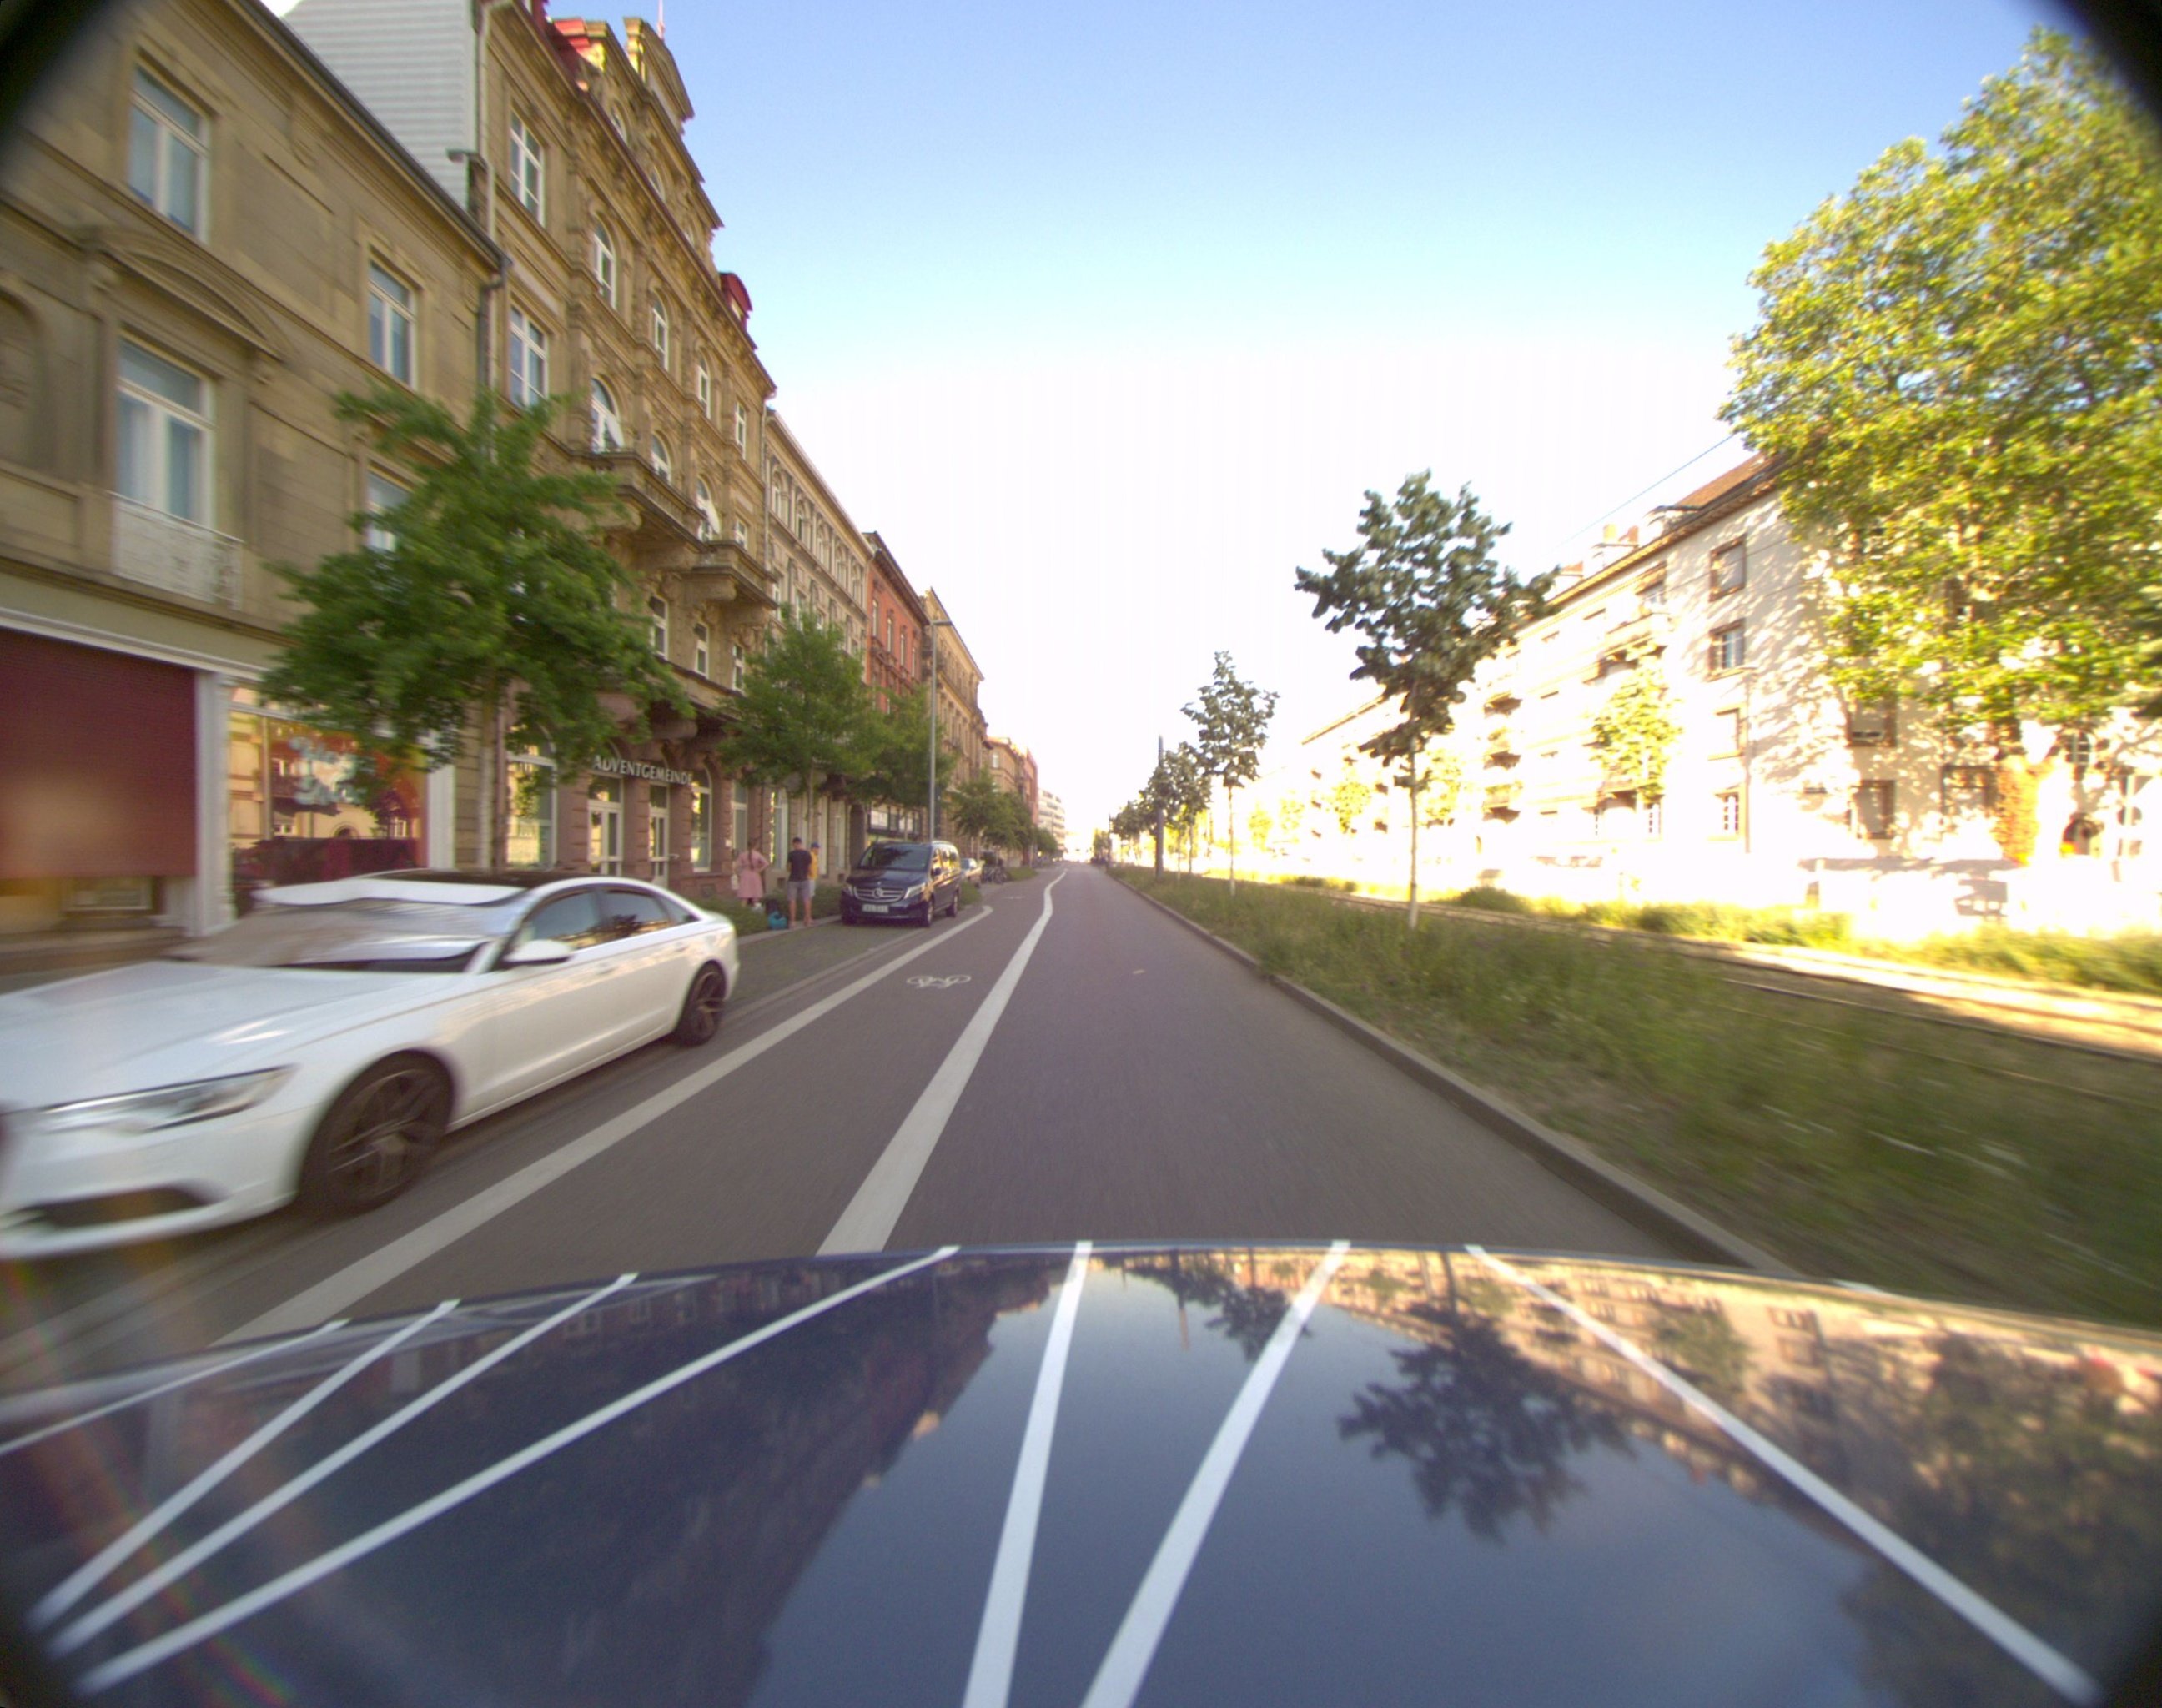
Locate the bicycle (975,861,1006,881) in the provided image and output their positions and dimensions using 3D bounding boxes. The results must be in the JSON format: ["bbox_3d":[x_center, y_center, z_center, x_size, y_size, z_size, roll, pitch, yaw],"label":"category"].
[{"bbox_3d":[-5.213,0.991,43.973,1.692,1.112,0.530,1,0,2],"label":"bicycle"}]

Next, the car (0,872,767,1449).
[{"bbox_3d":[-3.988,0.935,4.768,1.853,1.445,5.252,2,0,0],"label":"car"}]

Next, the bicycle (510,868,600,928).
[{"bbox_3d":[-10.345,0.835,15.026,0.325,1.058,2.072,0,0,0],"label":"bicycle"}]

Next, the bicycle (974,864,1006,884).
[{"bbox_3d":[-4.856,1.073,40.640,1.613,1.045,0.478,1,0,2],"label":"bicycle"}]

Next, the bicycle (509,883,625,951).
[{"bbox_3d":[-7.951,0.949,11.848,0.656,0.910,1.682,0,0,0],"label":"bicycle"}]

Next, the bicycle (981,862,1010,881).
[{"bbox_3d":[-4.888,0.994,43.329,1.584,1.112,0.577,1,0,2],"label":"bicycle"}]

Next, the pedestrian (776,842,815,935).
[{"bbox_3d":[-5.527,0.651,14.706,0.470,1.768,0.506,0,1,20],"label":"pedestrian"}]

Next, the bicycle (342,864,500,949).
[{"bbox_3d":[-10.492,0.791,12.204,0.706,1.213,2.072,0,0,0],"label":"bicycle"}]

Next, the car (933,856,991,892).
[{"bbox_3d":[-5.341,0.854,34.709,1.694,1.476,4.744,2,0,2],"label":"car"}]

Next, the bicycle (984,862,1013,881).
[{"bbox_3d":[-4.887,1.044,45.169,1.693,1.112,0.530,1,0,-5],"label":"bicycle"}]

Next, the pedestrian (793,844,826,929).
[{"bbox_3d":[-5.573,0.663,15.616,0.505,1.718,0.490,0,1,-1],"label":"pedestrian"}]

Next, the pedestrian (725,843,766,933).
[{"bbox_3d":[-6.587,0.649,14.917,0.578,1.718,0.481,-1,1,-45],"label":"pedestrian"}]

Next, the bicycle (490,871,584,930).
[{"bbox_3d":[-10.700,0.881,15.028,0.344,1.027,2.072,0,0,0],"label":"bicycle"}]

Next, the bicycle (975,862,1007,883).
[{"bbox_3d":[-4.970,1.019,42.021,1.692,1.112,0.530,1,0,2],"label":"bicycle"}]

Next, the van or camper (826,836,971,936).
[{"bbox_3d":[-4.102,0.649,18.158,1.965,1.960,5.487,2,0,1],"label":"van or camper"}]
